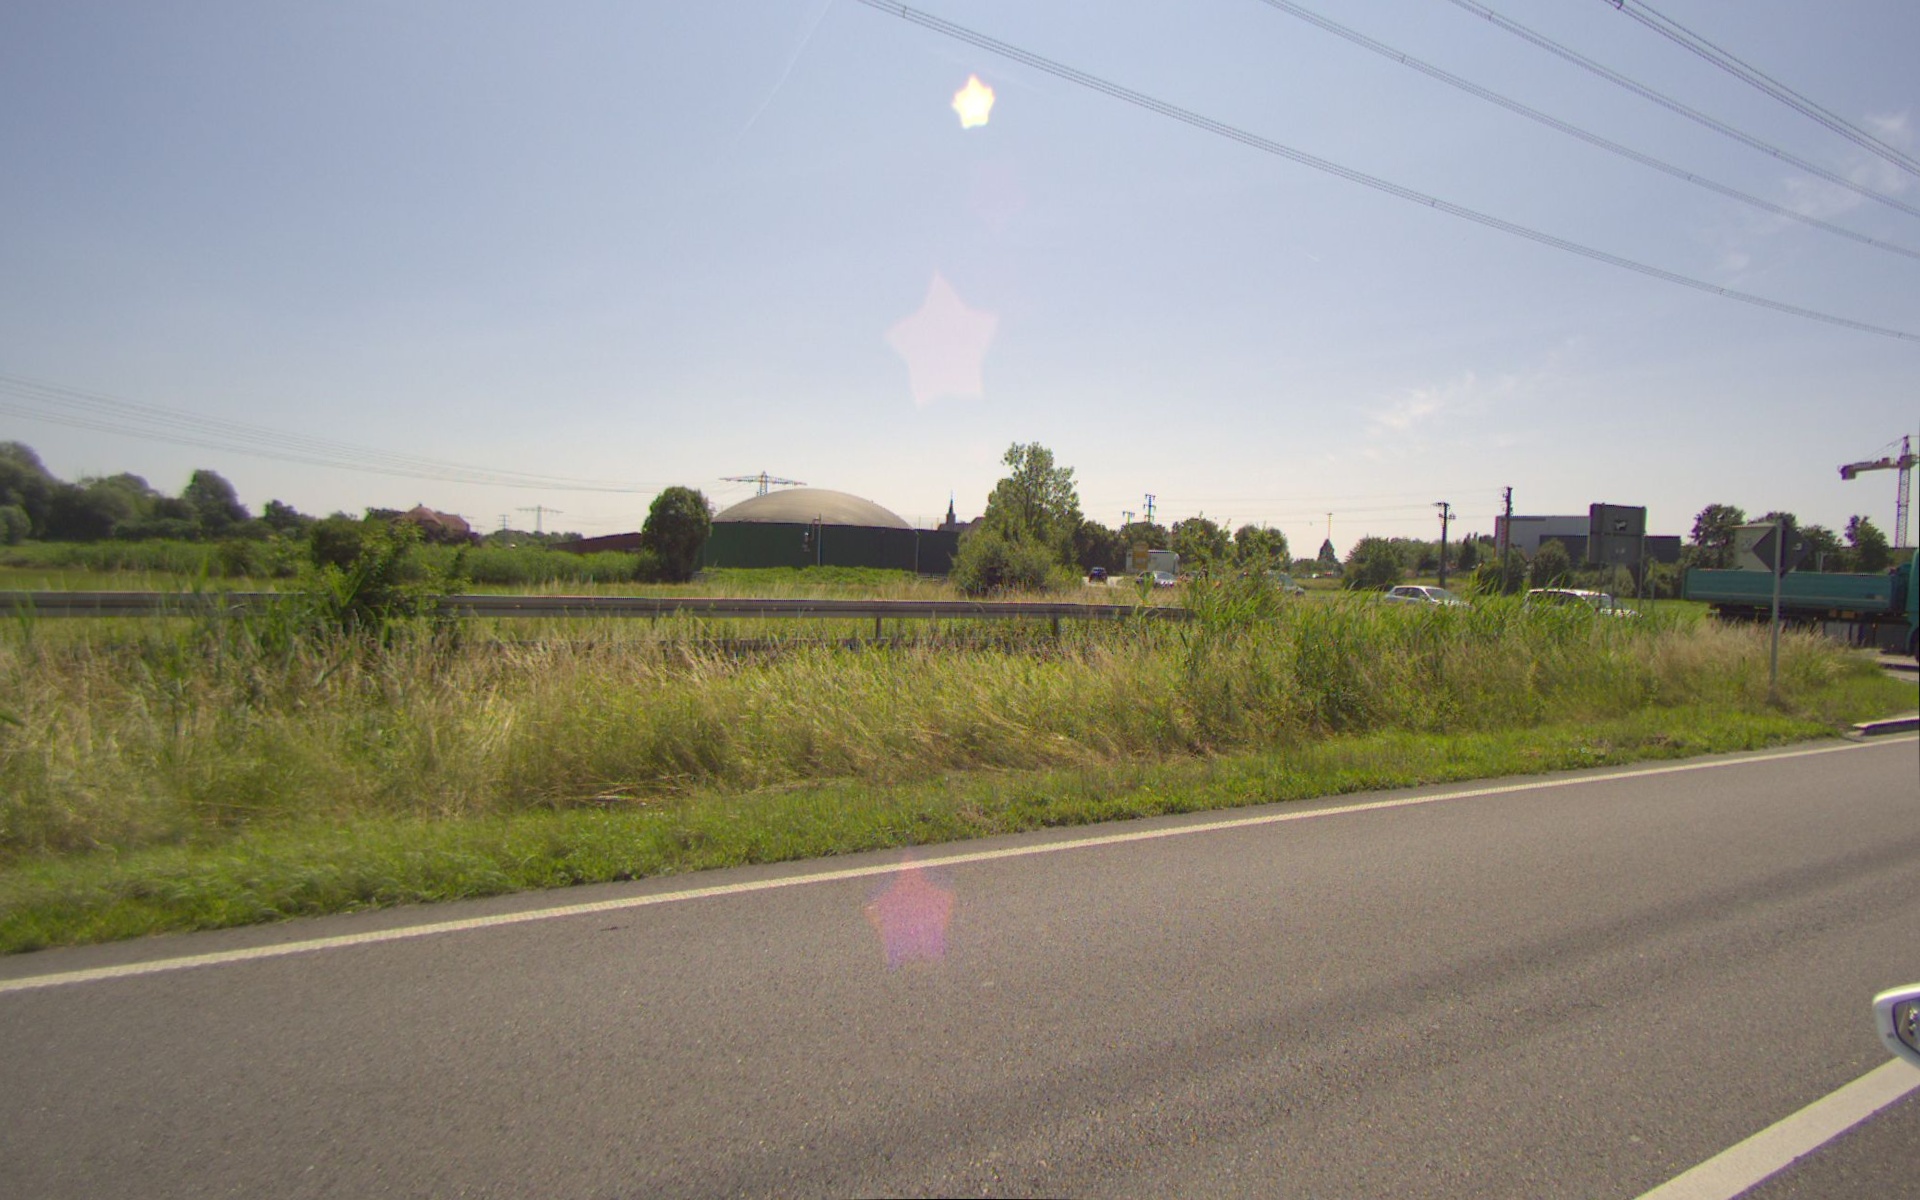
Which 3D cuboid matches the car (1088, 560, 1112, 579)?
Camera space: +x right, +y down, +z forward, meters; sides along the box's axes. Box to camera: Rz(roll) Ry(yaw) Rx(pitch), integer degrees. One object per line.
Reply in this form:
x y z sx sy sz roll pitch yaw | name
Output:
13.916 -3.032 100.078 1.960 1.701 4.001 1 0 2 | car

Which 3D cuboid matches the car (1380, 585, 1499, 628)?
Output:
19.075 0.222 40.181 1.691 1.490 4.428 1 2 -18 | car

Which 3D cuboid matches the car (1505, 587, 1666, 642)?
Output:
21.241 0.436 34.370 1.935 1.634 4.541 1 2 -14 | car

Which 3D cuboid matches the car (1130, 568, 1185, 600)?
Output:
12.282 -1.021 62.768 1.633 1.927 3.984 1 1 -18 | car

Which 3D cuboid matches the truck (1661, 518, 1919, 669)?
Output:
24.404 -0.258 27.776 2.465 3.785 7.875 1 3 -26 | truck

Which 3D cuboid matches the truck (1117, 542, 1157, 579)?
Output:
25.175 -5.442 142.019 3.617 4.708 13.241 2 1 18 | truck
